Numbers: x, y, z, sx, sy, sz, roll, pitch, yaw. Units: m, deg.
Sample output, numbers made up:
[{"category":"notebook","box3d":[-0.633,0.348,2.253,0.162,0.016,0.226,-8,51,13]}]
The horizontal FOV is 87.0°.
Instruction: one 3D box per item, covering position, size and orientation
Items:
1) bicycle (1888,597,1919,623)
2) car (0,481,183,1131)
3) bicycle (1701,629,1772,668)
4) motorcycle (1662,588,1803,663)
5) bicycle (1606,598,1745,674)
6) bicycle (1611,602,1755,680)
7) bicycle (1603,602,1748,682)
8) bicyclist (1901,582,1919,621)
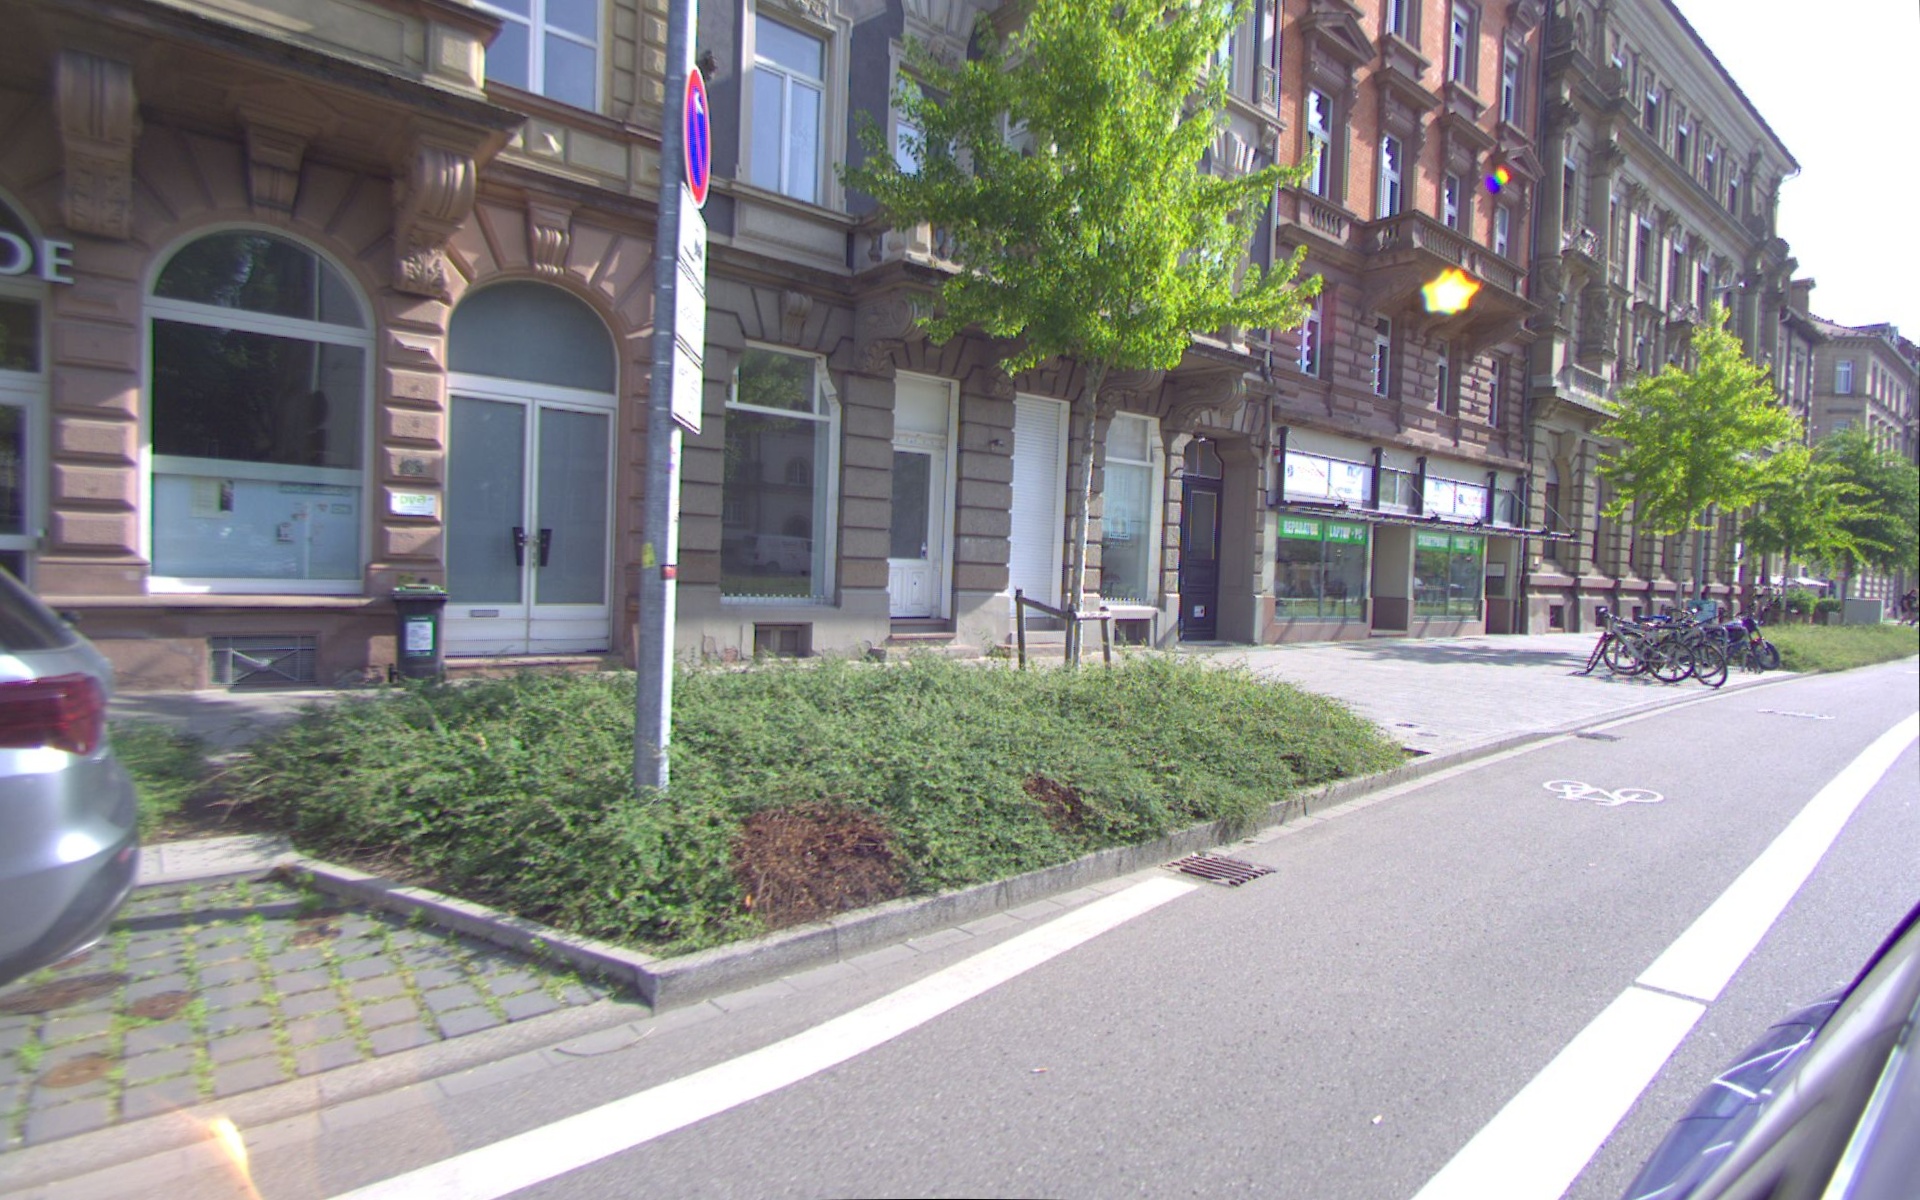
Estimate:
[{"category":"bicycle","box3d":[38.276,0.434,40.319,0.496,0.964,1.790,1,4,-24]},{"category":"car","box3d":[-4.207,0.457,1.925,4.177,1.607,1.772,0,4,-44]},{"category":"bicycle","box3d":[14.567,0.892,18.999,0.354,0.617,0.961,0,4,-38]},{"category":"motorcycle","box3d":[15.301,0.491,20.108,2.012,1.302,0.702,4,2,15]},{"category":"bicycle","box3d":[12.230,0.584,17.344,0.660,1.109,1.809,0,4,-44]},{"category":"bicycle","box3d":[11.609,0.630,16.303,0.366,1.066,1.789,1,4,-41]},{"category":"bicycle","box3d":[11.308,0.633,16.050,0.366,1.066,1.789,1,4,-41]},{"category":"bicyclist","box3d":[38.265,0.064,40.300,0.573,1.500,0.934,1,4,-24]}]
